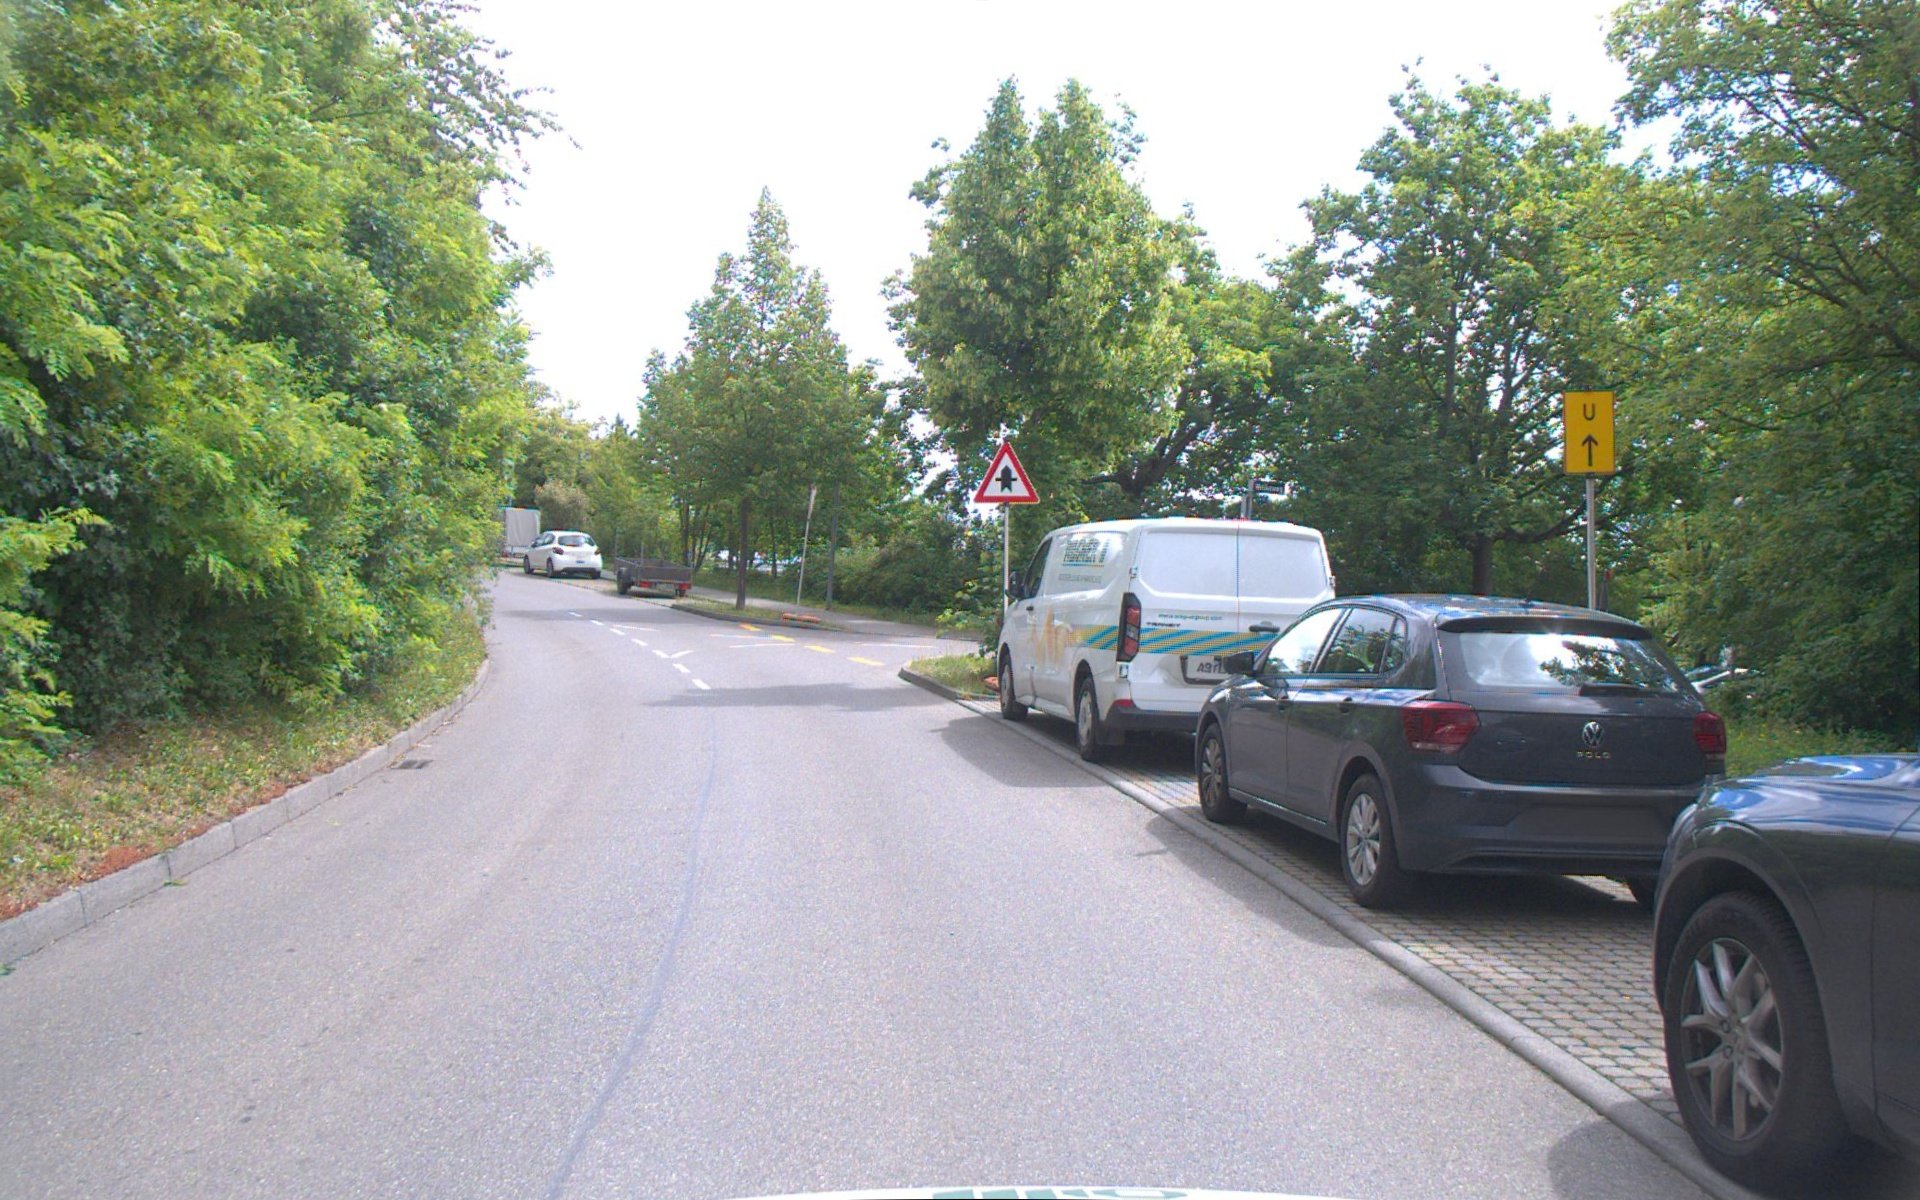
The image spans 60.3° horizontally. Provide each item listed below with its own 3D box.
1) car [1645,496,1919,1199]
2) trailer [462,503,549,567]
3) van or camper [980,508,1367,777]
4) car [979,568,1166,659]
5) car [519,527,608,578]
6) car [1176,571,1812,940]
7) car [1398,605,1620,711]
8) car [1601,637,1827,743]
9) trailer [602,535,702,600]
[{"bbox_3d":[3.056,0.644,2.627,1.954,1.654,4.275,1,1,-3],"label":"car"},{"bbox_3d":[-16.572,-2.382,60.213,1.726,2.147,3.951,0,4,-36],"label":"trailer"},{"bbox_3d":[1.660,0.268,15.045,1.957,1.953,5.254,2,1,-10],"label":"van or camper"},{"bbox_3d":[2.272,0.260,33.969,3.469,1.506,1.780,5,2,-7],"label":"car"},{"bbox_3d":[-13.190,-1.594,54.863,1.751,1.435,3.961,1,4,-30],"label":"car"},{"bbox_3d":[2.563,0.662,9.054,1.763,1.489,3.994,3,0,-7],"label":"car"},{"bbox_3d":[11.766,1.232,35.552,3.917,1.622,1.996,8,0,-10],"label":"car"},{"bbox_3d":[16.354,1.937,35.973,3.917,1.622,1.996,8,0,-10],"label":"car"},{"bbox_3d":[-8.744,-0.948,46.706,1.762,1.552,3.969,2,3,-26],"label":"trailer"}]
